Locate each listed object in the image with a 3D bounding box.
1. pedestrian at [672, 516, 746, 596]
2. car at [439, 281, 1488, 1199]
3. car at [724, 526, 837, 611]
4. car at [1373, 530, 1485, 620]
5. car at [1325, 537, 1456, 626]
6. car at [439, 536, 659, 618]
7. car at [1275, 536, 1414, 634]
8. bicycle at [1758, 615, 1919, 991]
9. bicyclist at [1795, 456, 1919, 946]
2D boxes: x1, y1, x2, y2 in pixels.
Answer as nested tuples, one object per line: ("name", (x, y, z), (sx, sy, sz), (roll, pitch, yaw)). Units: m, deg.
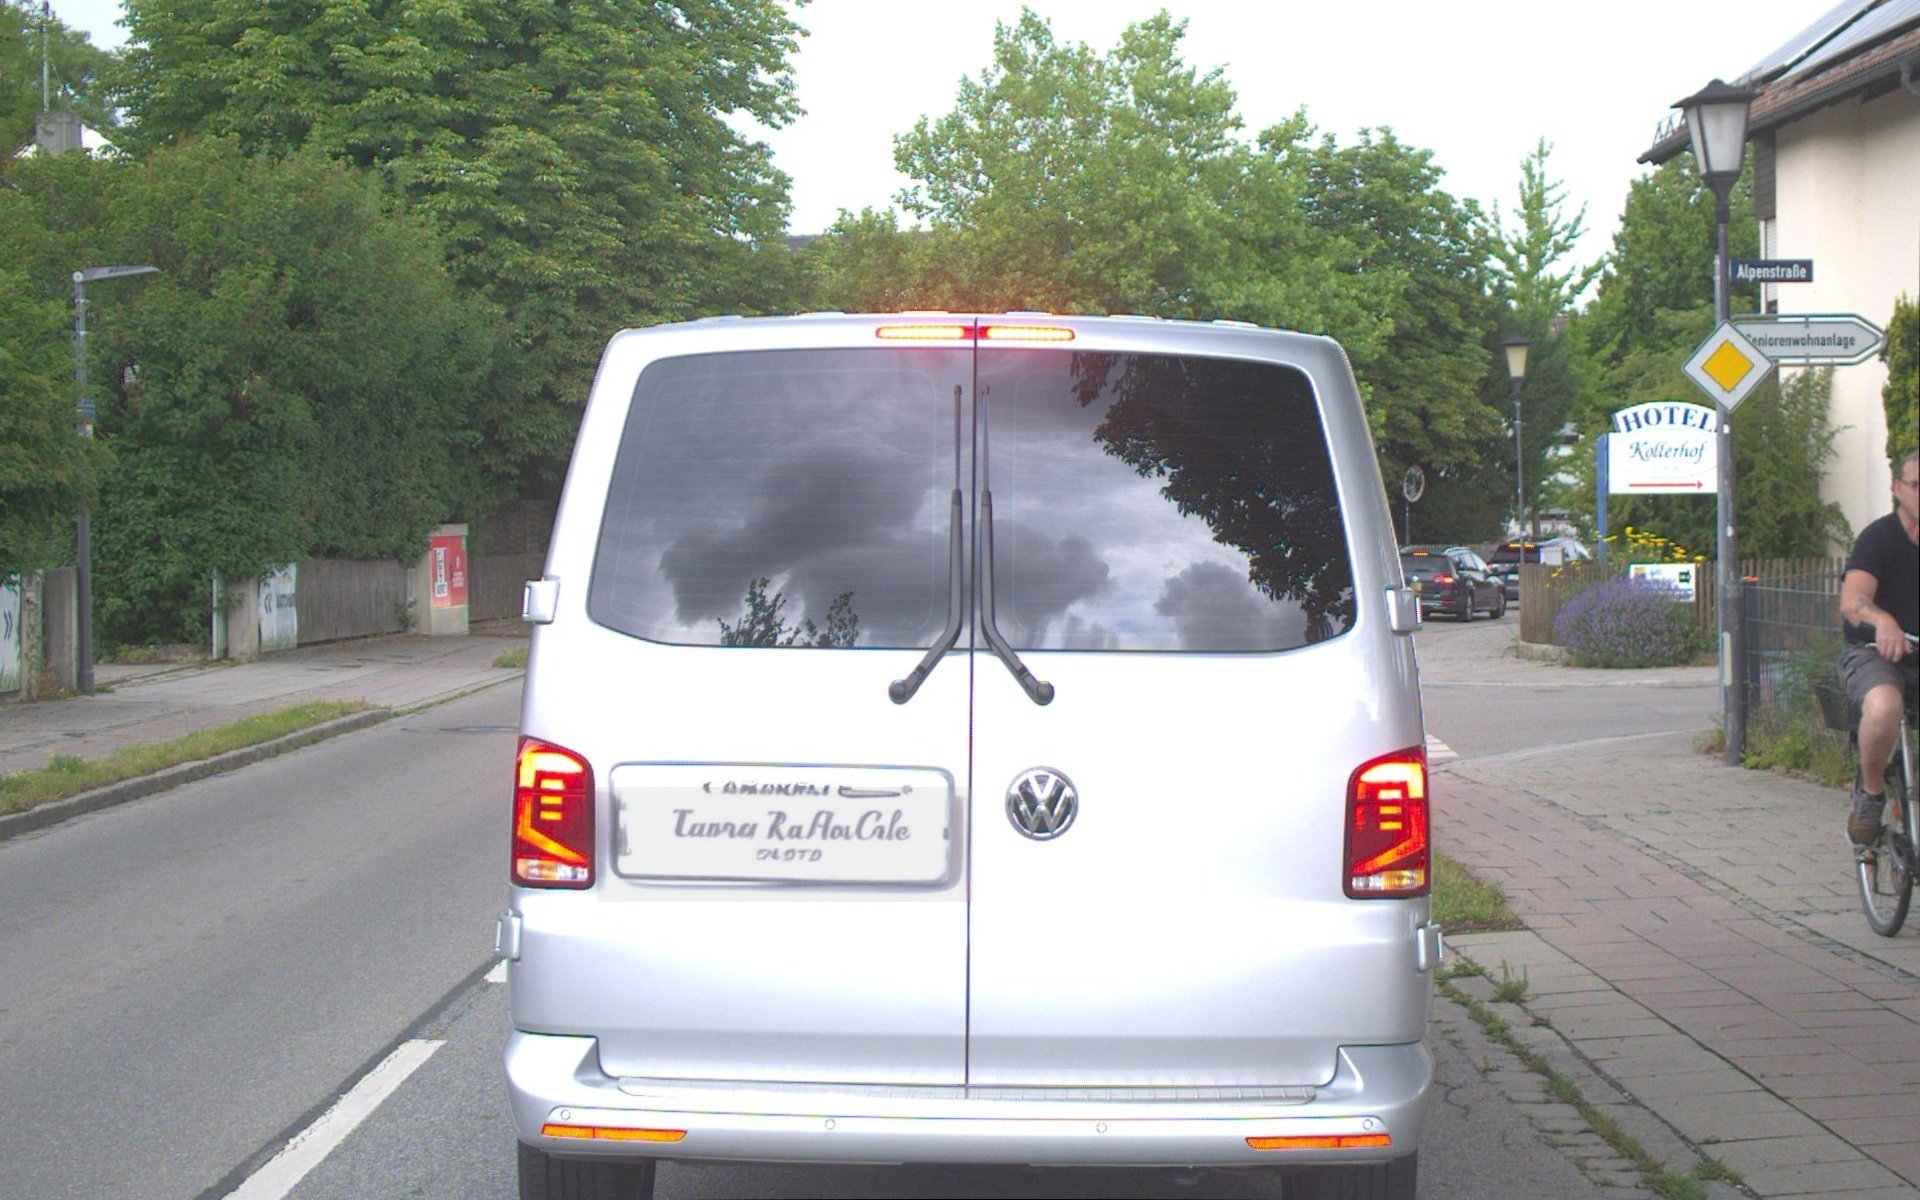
("pedestrian", (-5.656, -0.996, 77.347), (1.318, 1.796, 1.069), (-1, 1, -32))
("car", (0.028, 0.364, 8.159), (1.881, 1.934, 3.921), (0, 1, 1))
("car", (-3.476, -0.631, 67.270), (1.930, 1.569, 4.312), (1, 1, 0))
("car", (9.400, -0.525, 68.647), (1.882, 1.742, 4.078), (0, 1, 12))
("car", (7.759, -0.354, 61.690), (1.882, 1.530, 3.918), (0, 1, 14))
("car", (-7.610, -0.434, 63.598), (3.986, 1.481, 2.001), (0, 1, -8))
("car", (6.273, -0.269, 55.769), (1.882, 1.530, 3.919), (0, 1, 12))
("bicycle", (3.360, 0.651, 11.915), (0.764, 1.139, 1.845), (-2, 1, 1))
("bicyclist", (3.363, 0.323, 11.855), (0.736, 1.627, 0.890), (-1, 1, 1))
